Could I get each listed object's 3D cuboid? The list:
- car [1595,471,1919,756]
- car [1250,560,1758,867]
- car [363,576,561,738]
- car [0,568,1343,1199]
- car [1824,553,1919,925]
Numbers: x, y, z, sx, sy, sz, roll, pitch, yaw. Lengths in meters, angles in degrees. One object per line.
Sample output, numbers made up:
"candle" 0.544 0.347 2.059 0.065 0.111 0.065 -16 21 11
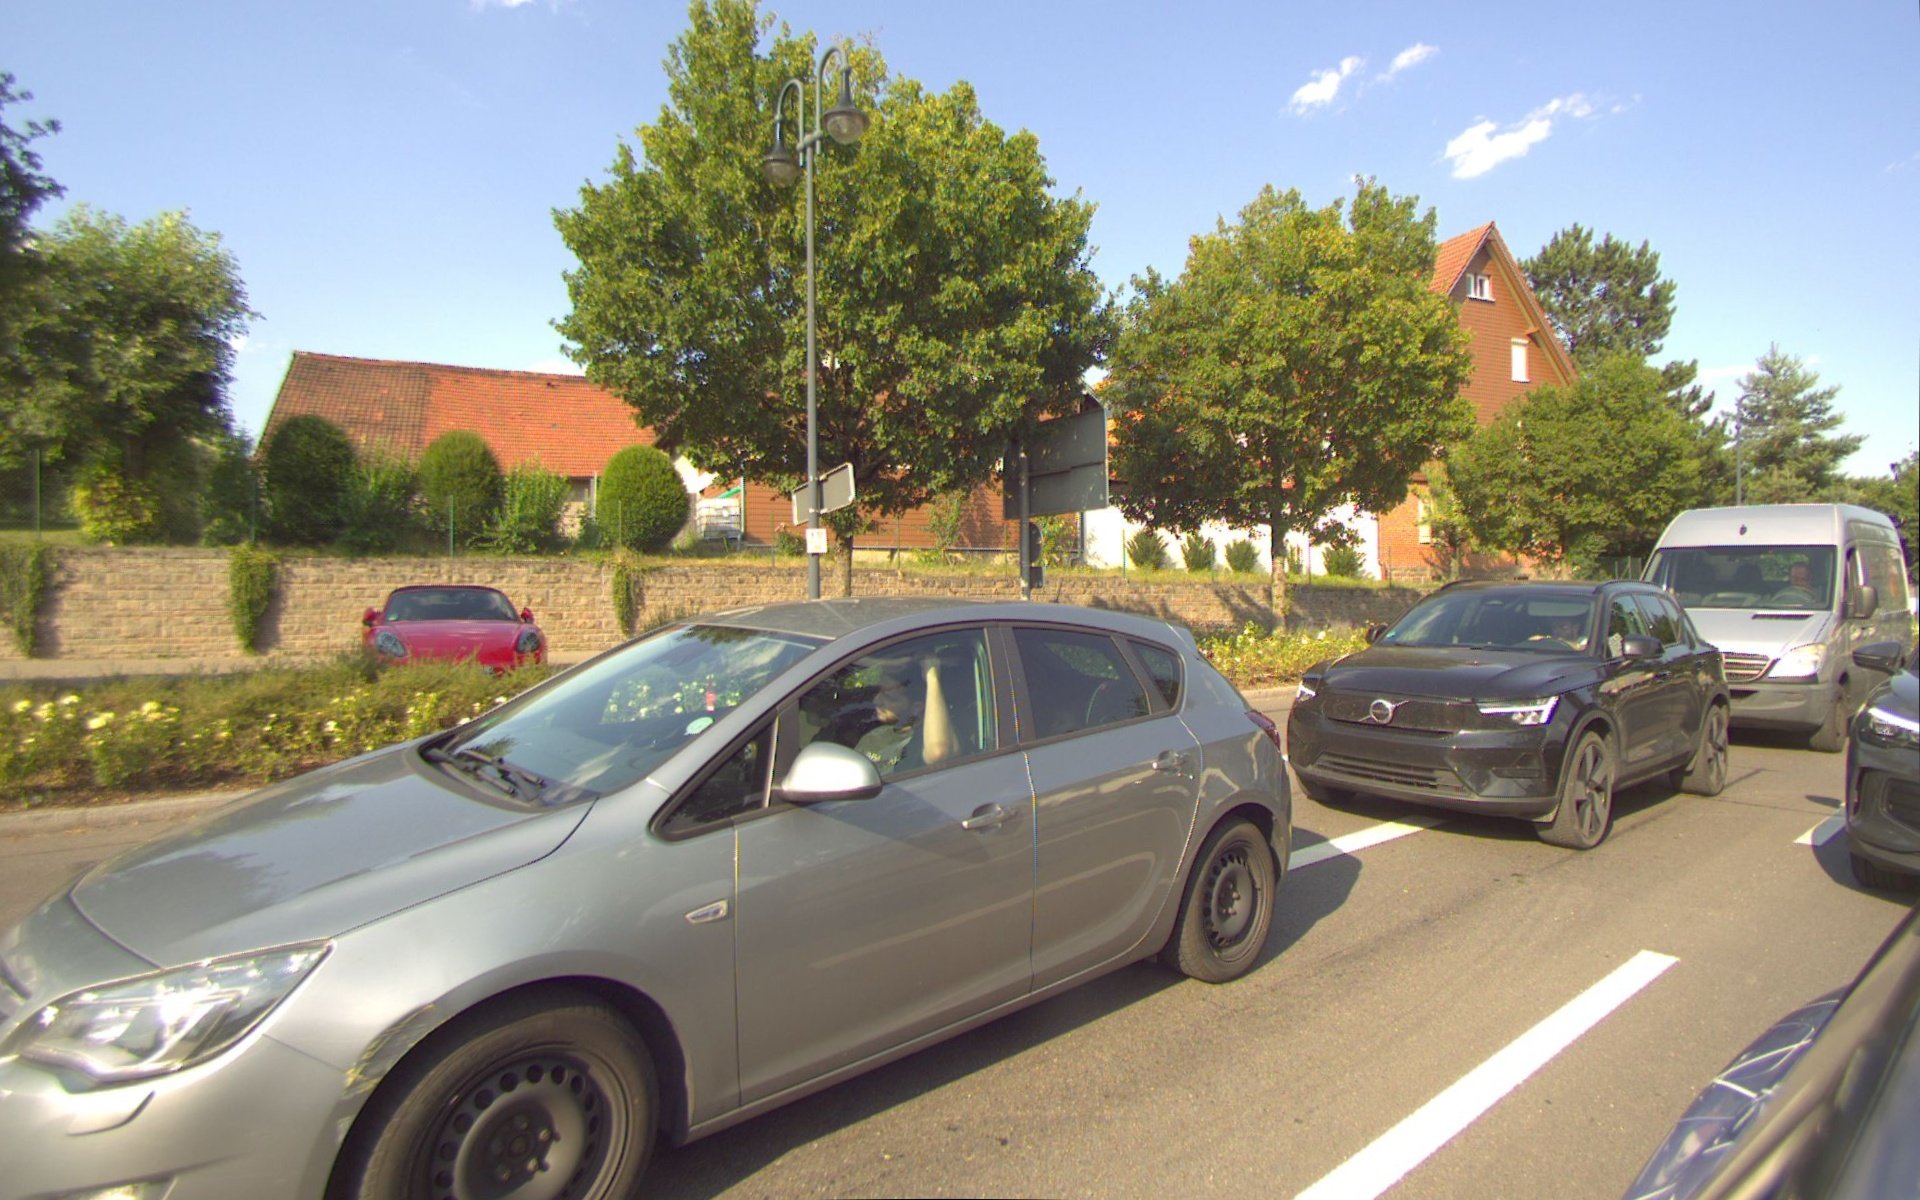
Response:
"car" 9.695 0.089 11.933 5.938 2.601 1.992 0 1 -40
"car" 4.164 0.569 7.446 4.242 1.629 1.844 0 2 -40
"car" -5.892 0.525 11.708 1.743 1.510 4.156 0 0 -31
"car" -0.555 0.667 3.516 4.244 1.471 1.765 0 2 -42
"car" 6.217 0.621 5.331 4.242 1.629 1.844 0 2 -40
